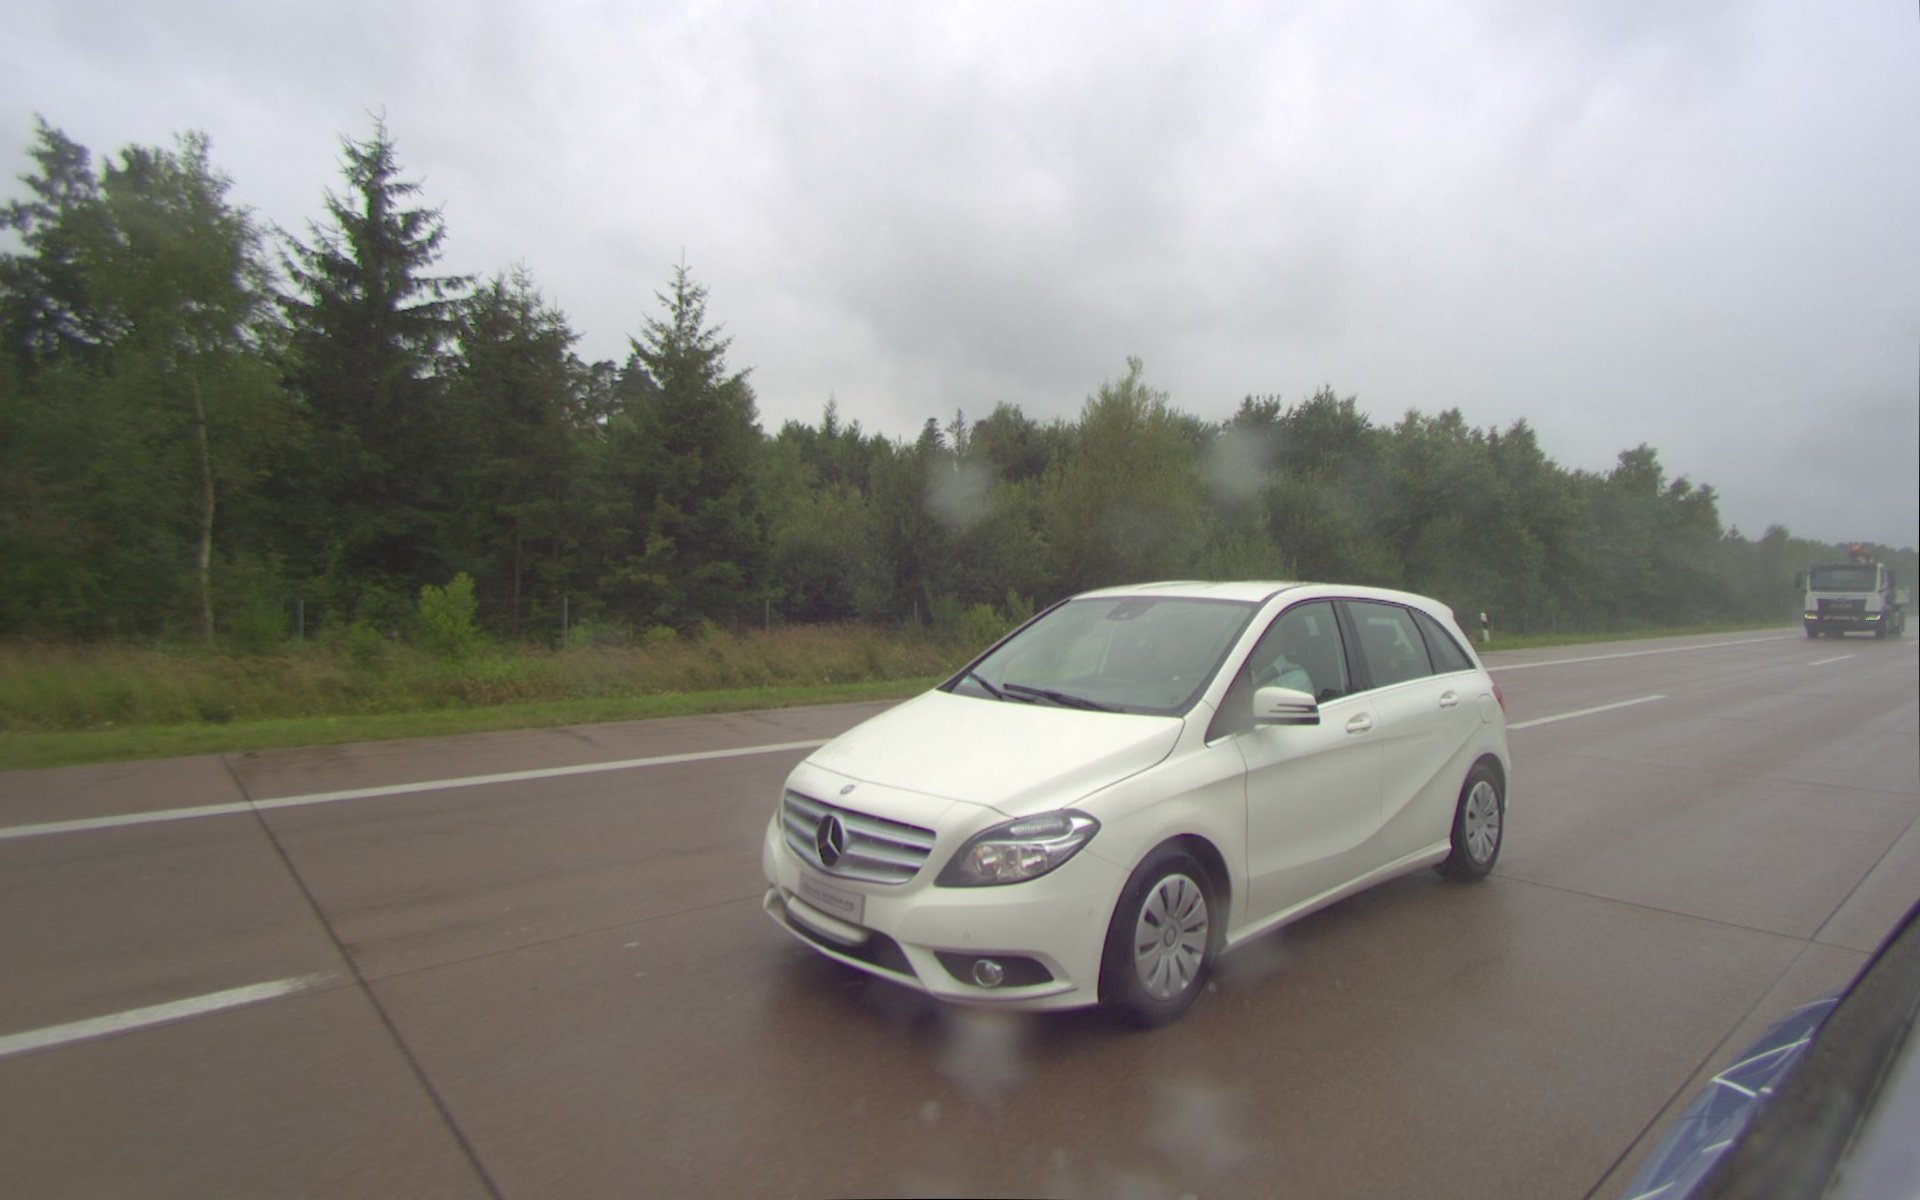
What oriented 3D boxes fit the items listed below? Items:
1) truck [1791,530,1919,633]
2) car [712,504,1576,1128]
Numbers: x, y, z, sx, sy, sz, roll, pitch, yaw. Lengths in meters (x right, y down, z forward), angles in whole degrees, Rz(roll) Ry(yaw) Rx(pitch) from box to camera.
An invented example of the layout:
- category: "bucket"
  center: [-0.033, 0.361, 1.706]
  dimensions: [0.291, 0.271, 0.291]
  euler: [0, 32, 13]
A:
- category: "truck"
  center: [36.414, -0.695, 40.781]
  dimensions: [7.815, 3.777, 3.240]
  euler: [0, 0, -41]
- category: "car"
  center: [1.294, 0.595, 5.086]
  dimensions: [4.662, 1.750, 1.811]
  euler: [0, 0, -42]
